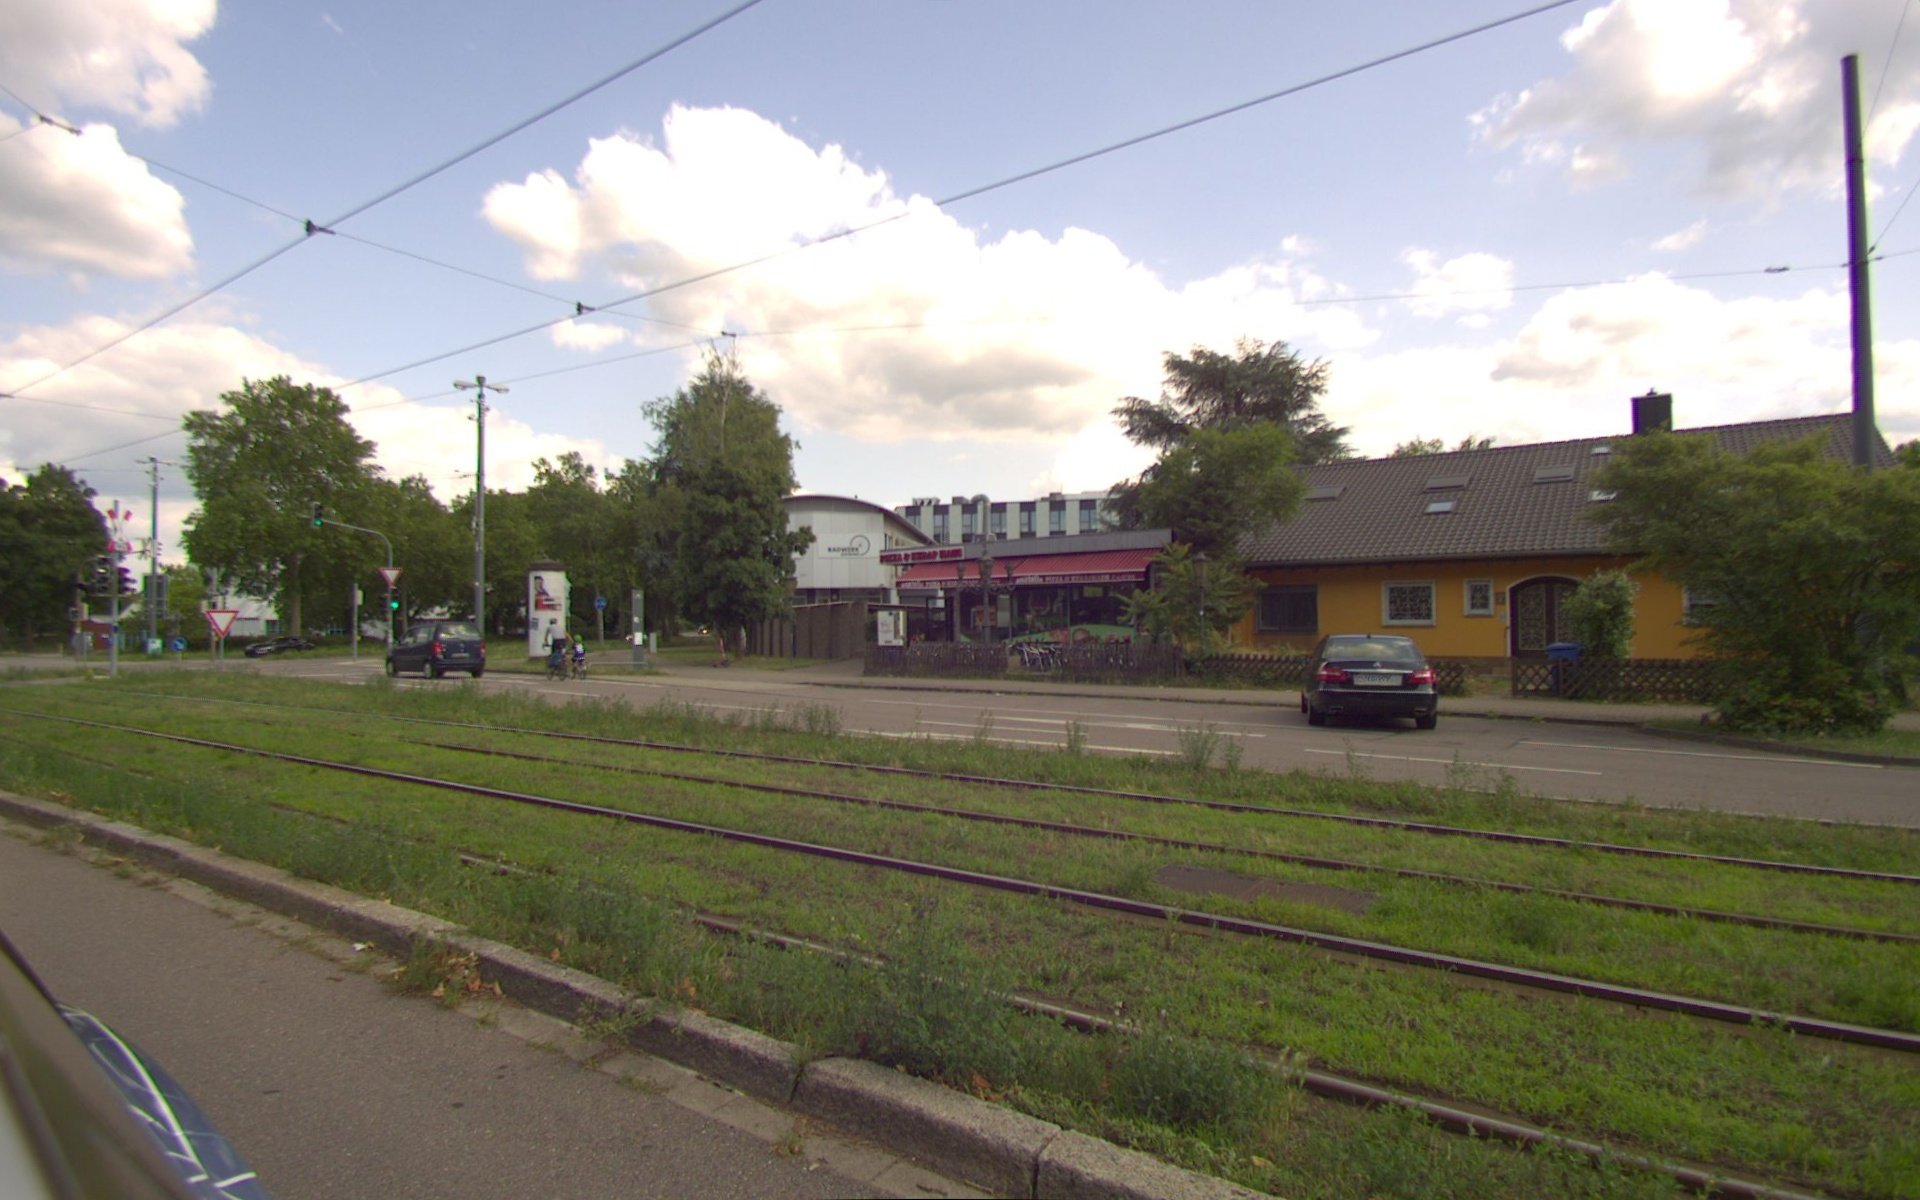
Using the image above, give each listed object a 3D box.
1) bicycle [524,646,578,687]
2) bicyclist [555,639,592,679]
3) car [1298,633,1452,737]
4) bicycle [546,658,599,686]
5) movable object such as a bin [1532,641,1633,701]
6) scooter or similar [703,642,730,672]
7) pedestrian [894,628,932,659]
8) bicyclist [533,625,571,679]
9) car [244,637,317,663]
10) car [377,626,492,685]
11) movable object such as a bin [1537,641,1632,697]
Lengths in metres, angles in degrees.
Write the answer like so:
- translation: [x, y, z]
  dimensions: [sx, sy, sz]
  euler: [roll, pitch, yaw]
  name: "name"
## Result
- translation: [-11.535, 1.850, 28.502]
  dimensions: [1.803, 1.088, 0.639]
  euler: [-2, -2, 40]
  name: "bicycle"
- translation: [-11.068, 1.669, 28.985]
  dimensions: [0.928, 1.121, 0.633]
  euler: [-2, -2, 40]
  name: "bicyclist"
- translation: [6.649, 1.278, 16.675]
  dimensions: [1.867, 1.418, 4.626]
  euler: [1, -2, 16]
  name: "car"
- translation: [-11.110, 2.051, 29.010]
  dimensions: [1.803, 0.723, 0.639]
  euler: [-2, -2, 40]
  name: "bicycle"
- translation: [12.361, 1.387, 20.087]
  dimensions: [1.614, 1.109, 1.243]
  euler: [-2, -2, 35]
  name: "movable object such as a bin"
- translation: [-8.894, 2.074, 36.992]
  dimensions: [0.421, 1.041, 1.224]
  euler: [1, -2, -43]
  name: "scooter or similar"
- translation: [-1.806, 1.667, 38.579]
  dimensions: [0.930, 1.155, 1.142]
  euler: [-2, -2, 38]
  name: "pedestrian"
- translation: [-11.485, 1.450, 28.466]
  dimensions: [0.928, 1.468, 0.617]
  euler: [-2, -3, 40]
  name: "bicyclist"
- translation: [-41.444, 3.020, 61.788]
  dimensions: [1.678, 1.535, 3.851]
  euler: [0, -2, 4]
  name: "car"
- translation: [-15.758, 1.615, 30.305]
  dimensions: [3.491, 1.639, 1.761]
  euler: [-1, -2, 38]
  name: "car"
- translation: [13.155, 1.424, 21.306]
  dimensions: [1.614, 1.101, 1.243]
  euler: [-2, -2, 35]
  name: "movable object such as a bin"
